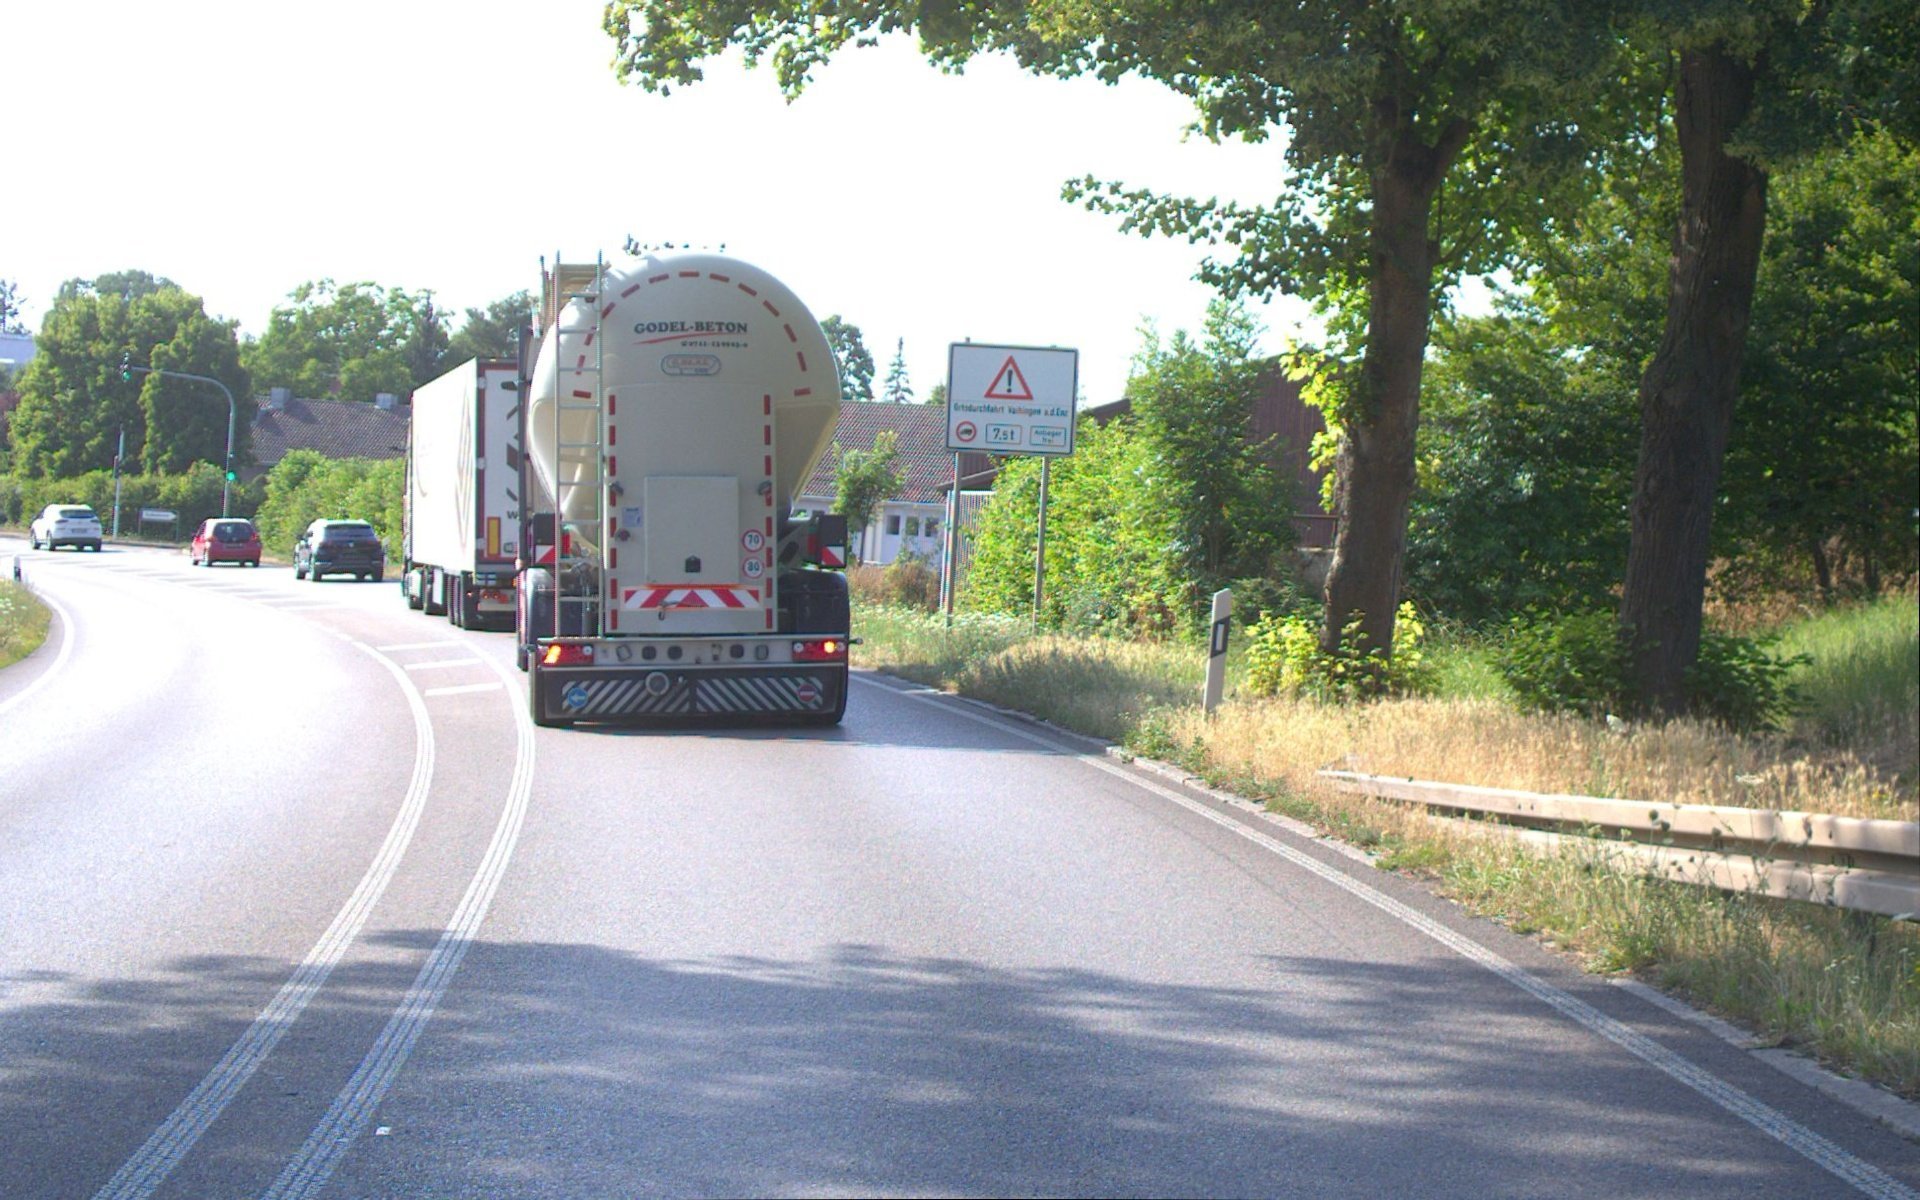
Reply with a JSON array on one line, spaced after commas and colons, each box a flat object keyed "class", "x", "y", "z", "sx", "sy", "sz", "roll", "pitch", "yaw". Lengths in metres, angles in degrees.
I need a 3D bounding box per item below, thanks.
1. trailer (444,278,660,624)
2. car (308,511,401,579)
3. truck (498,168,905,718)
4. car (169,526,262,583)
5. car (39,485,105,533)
[{"class": "trailer", "x": -6.556, "y": -2.165, "z": 53.959, "sx": 2.963, "sy": 4.865, "sz": 10.291, "roll": 1, "pitch": 0, "yaw": -9}, {"class": "car", "x": -15.404, "y": -1.379, "z": 87.330, "sx": 1.993, "sy": 1.650, "sz": 4.001, "roll": 1, "pitch": 1, "yaw": -14}, {"class": "truck", "x": -2.752, "y": -1.252, "z": 32.166, "sx": 2.975, "sy": 4.161, "sz": 11.665, "roll": 1, "pitch": 0, "yaw": -8}, {"class": "car", "x": -22.599, "y": -1.381, "z": 104.228, "sx": 2.299, "sy": 1.650, "sz": 4.416, "roll": 1, "pitch": 1, "yaw": -18}, {"class": "car", "x": -32.221, "y": -3.293, "z": 124.703, "sx": 1.841, "sy": 1.650, "sz": 4.001, "roll": 1, "pitch": 1, "yaw": -21}]
